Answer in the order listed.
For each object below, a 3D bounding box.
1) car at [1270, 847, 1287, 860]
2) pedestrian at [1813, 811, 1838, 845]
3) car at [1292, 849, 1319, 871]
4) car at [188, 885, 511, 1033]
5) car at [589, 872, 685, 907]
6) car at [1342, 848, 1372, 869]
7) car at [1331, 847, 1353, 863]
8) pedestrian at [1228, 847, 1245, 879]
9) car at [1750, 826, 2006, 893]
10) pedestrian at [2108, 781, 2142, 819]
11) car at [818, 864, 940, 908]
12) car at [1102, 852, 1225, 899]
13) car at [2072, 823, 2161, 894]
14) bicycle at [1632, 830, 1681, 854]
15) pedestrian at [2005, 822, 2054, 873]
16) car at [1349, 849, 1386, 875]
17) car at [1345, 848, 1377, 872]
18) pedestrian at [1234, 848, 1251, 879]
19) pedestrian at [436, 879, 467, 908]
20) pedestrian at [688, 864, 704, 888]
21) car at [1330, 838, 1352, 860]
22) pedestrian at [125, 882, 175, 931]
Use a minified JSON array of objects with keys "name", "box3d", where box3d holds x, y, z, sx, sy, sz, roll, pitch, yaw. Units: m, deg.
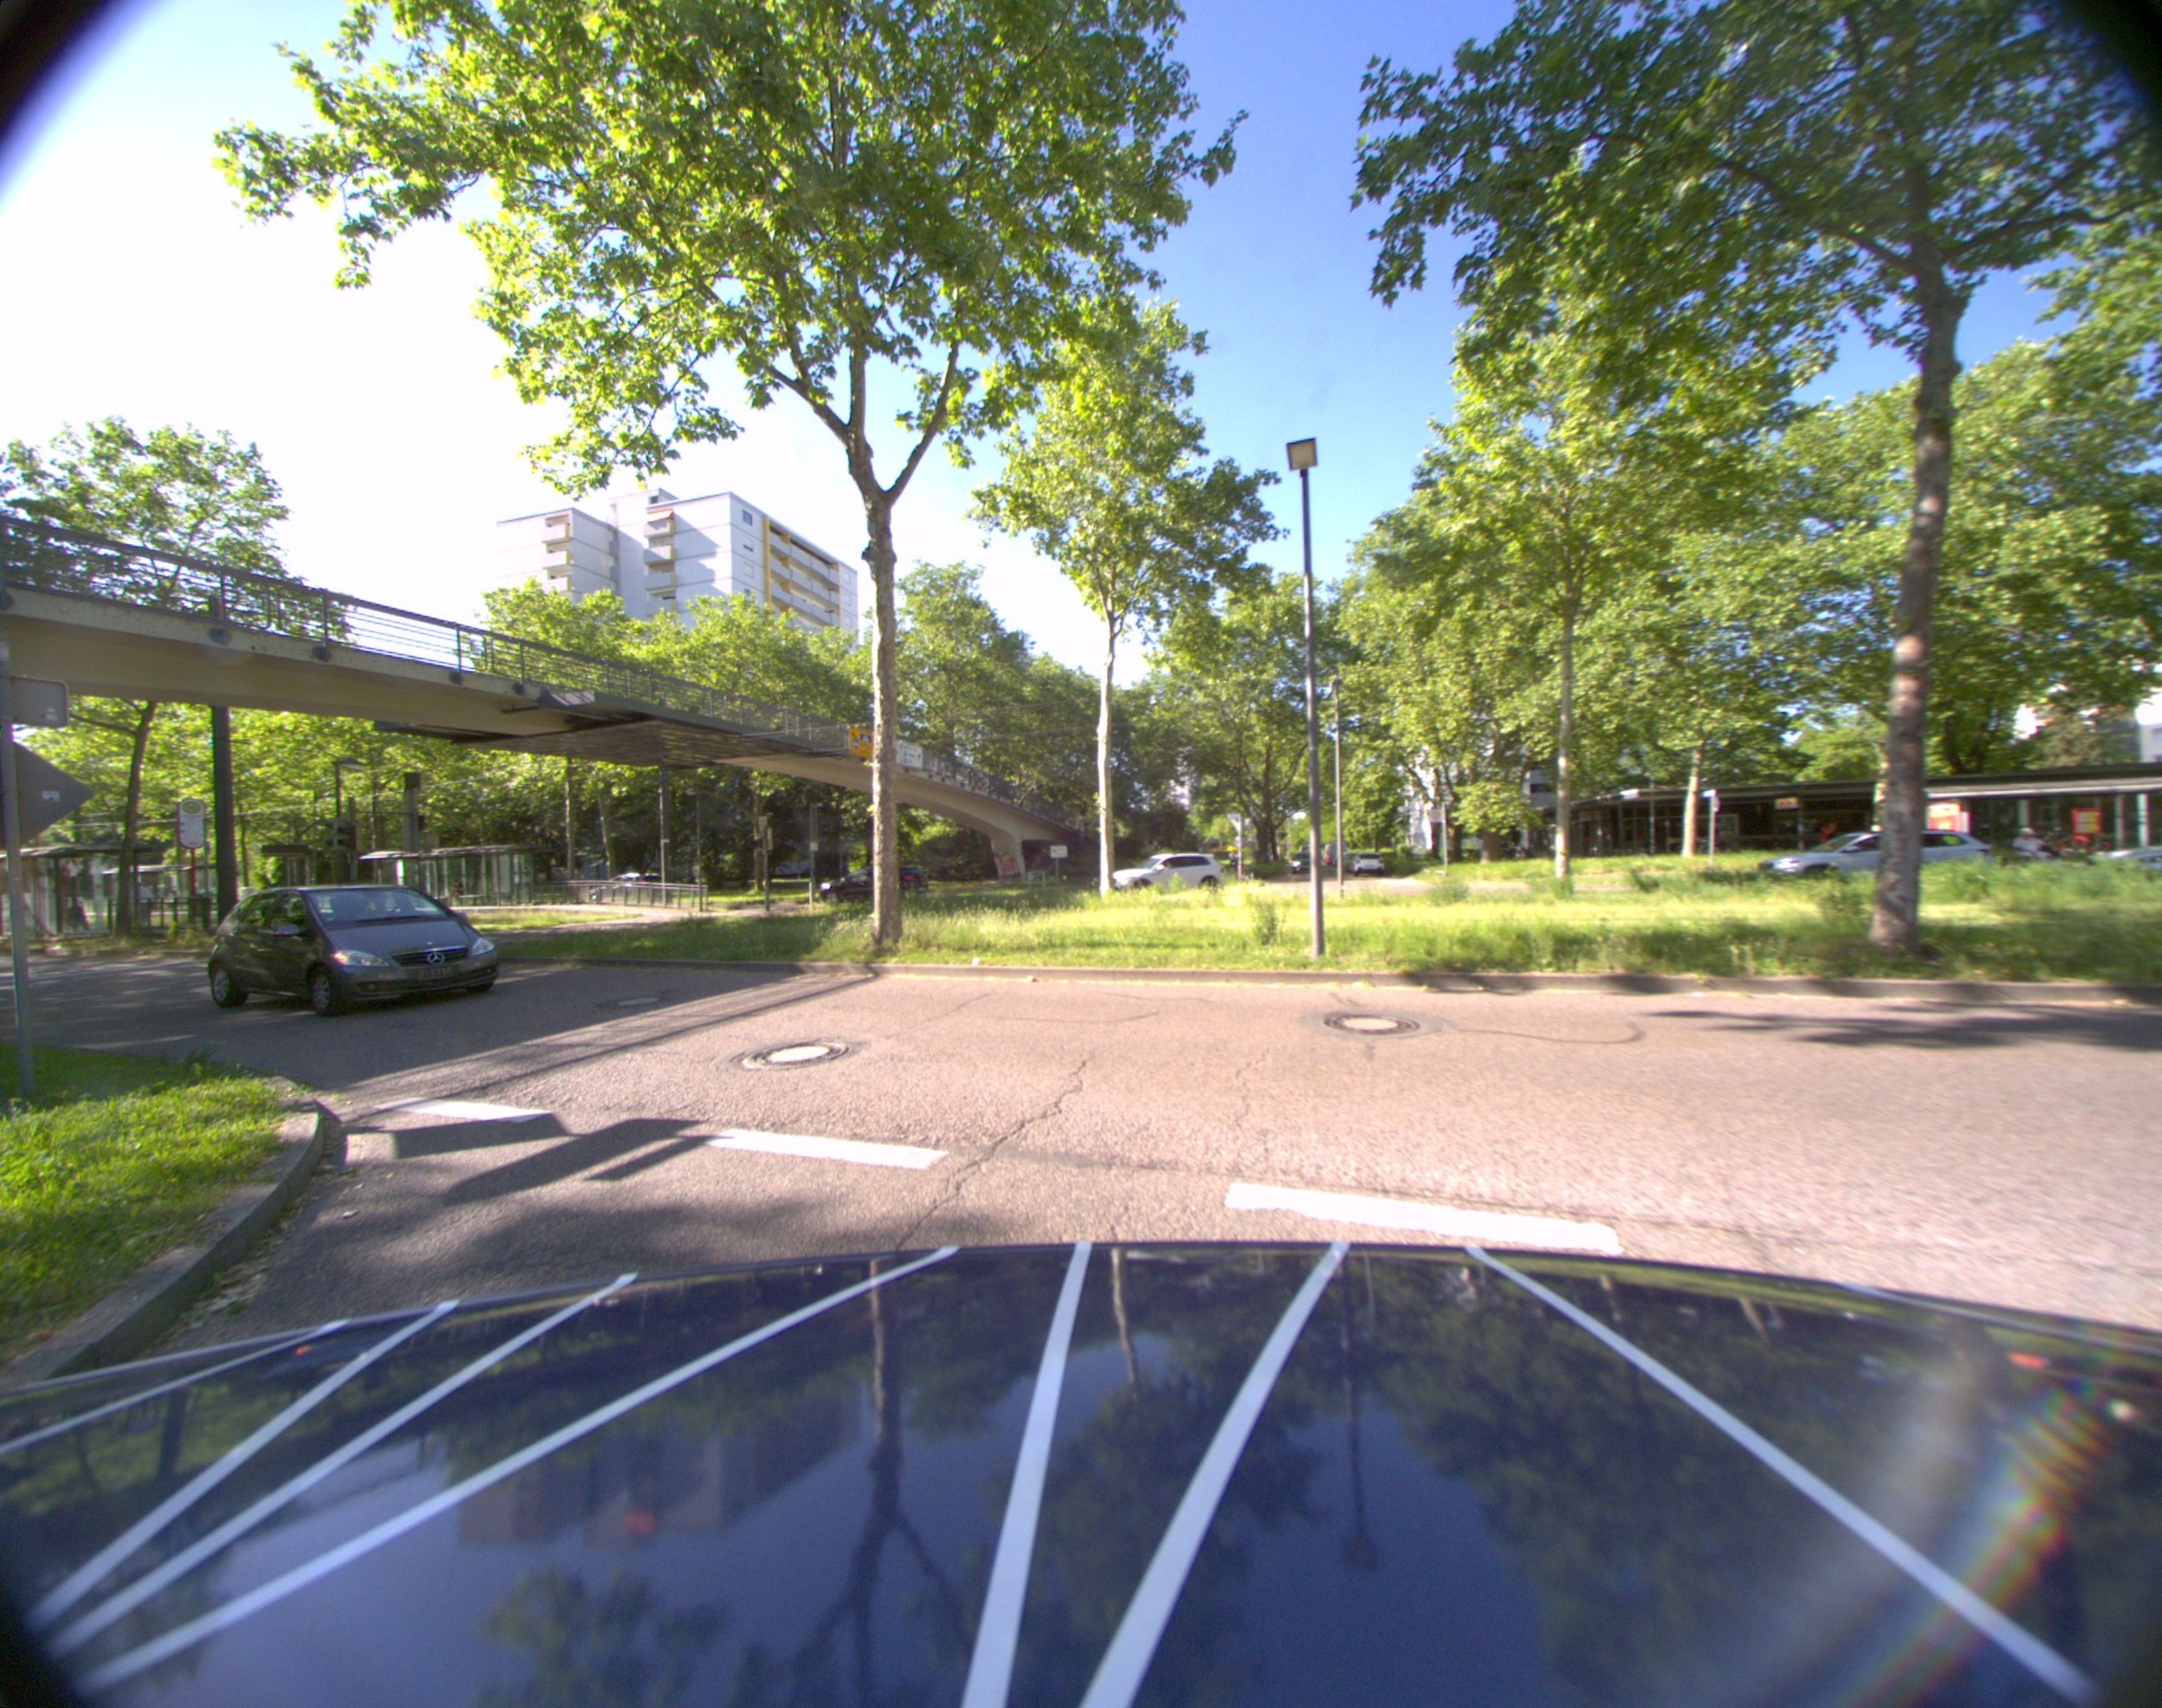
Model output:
[{"name":"car","box3d":[23.309,-0.086,89.474,1.796,1.501,4.004,-2,0,16]},{"name":"pedestrian","box3d":[36.548,-1.261,37.306,0.649,1.651,0.651,-2,1,17]},{"name":"car","box3d":[16.563,0.452,56.167,1.796,1.501,4.004,-2,0,16]},{"name":"car","box3d":[-9.906,1.310,10.302,3.754,1.580,1.803,-2,1,24]},{"name":"car","box3d":[-22.158,1.786,37.904,4.278,1.557,1.803,-2,0,21]},{"name":"car","box3d":[20.767,0.321,57.256,1.796,1.501,4.004,-2,0,16]},{"name":"car","box3d":[25.196,0.095,73.363,1.796,1.501,4.004,-2,0,16]},{"name":"pedestrian","box3d":[8.822,0.500,43.190,0.651,1.773,0.648,-3,1,-44]},{"name":"car","box3d":[20.777,0.155,20.061,4.278,1.571,1.803,-2,0,22]},{"name":"pedestrian","box3d":[47.402,-2.456,34.502,0.649,1.651,0.651,-2,1,17]},{"name":"car","box3d":[-7.987,1.266,30.155,4.279,1.557,1.802,-2,0,16]},{"name":"car","box3d":[3.033,0.767,27.962,4.091,1.501,1.797,-2,0,-22]},{"name":"car","box3d":[25.439,0.022,16.413,4.665,1.501,1.802,-2,0,19]},{"name":"bicycle","box3d":[27.695,-0.580,36.610,1.797,1.101,0.556,-2,1,13]},{"name":"pedestrian","box3d":[28.020,-0.184,22.460,0.648,1.451,0.651,-2,1,24]},{"name":"car","box3d":[17.794,0.473,47.248,1.796,1.501,4.004,-2,0,16]},{"name":"car","box3d":[19.404,0.384,52.752,1.796,1.501,4.004,-2,0,16]},{"name":"pedestrian","box3d":[8.977,0.532,42.259,0.651,1.695,0.648,-3,1,-45]},{"name":"pedestrian","box3d":[-28.138,1.759,33.976,0.720,1.230,0.781,-2,1,21]},{"name":"pedestrian","box3d":[-27.177,1.548,53.666,0.648,1.652,0.651,-2,1,23]},{"name":"car","box3d":[30.017,-0.569,87.799,2.058,2.422,5.014,-2,0,16]},{"name":"pedestrian","box3d":[-28.183,1.587,23.005,0.680,1.409,0.727,-2,2,21]}]
